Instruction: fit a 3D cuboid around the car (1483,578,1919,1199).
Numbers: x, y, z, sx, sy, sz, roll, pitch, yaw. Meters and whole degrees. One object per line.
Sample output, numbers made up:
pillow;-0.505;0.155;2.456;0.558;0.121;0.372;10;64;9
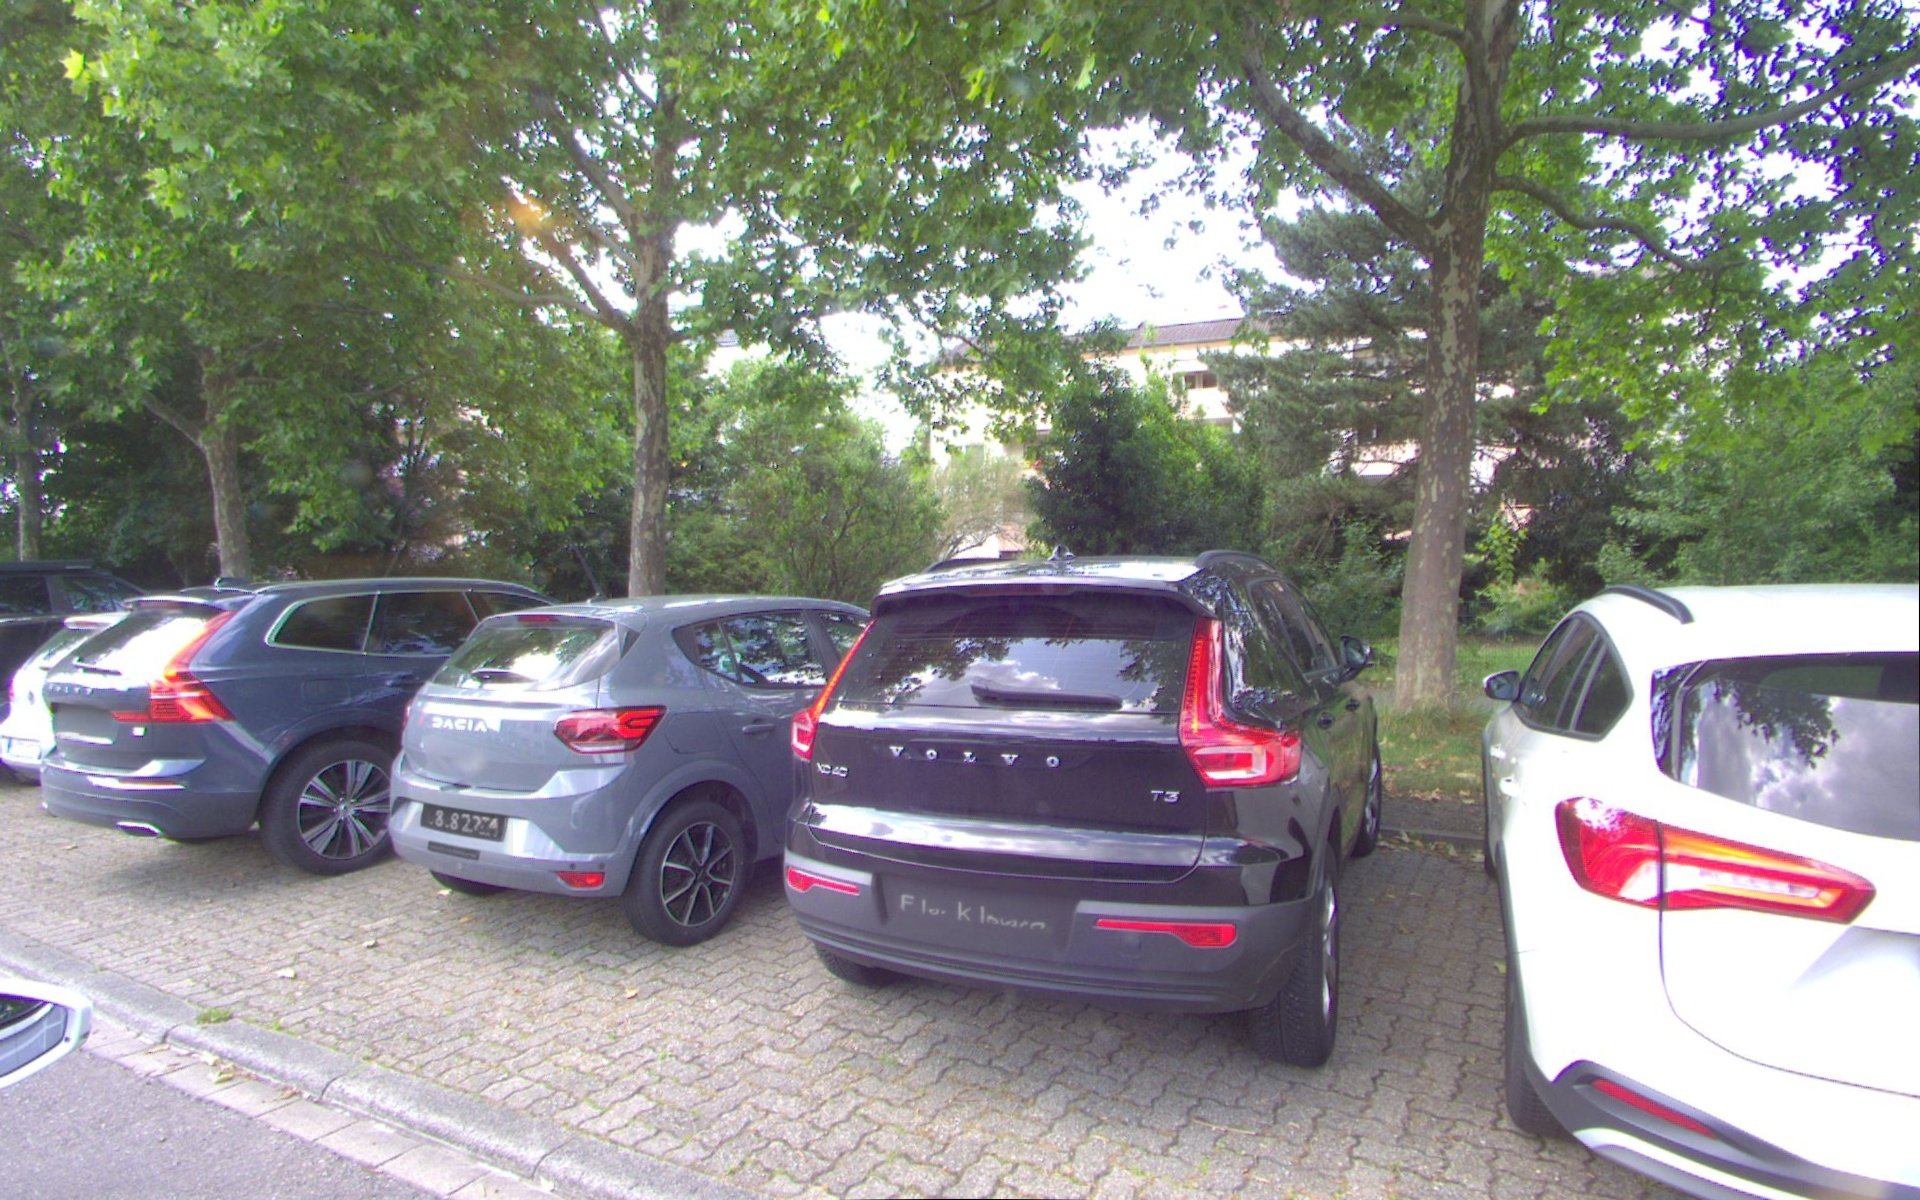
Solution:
car;2.919;0.673;3.536;1.818;1.493;4.654;0;1;27

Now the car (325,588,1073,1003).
car;-1.053;0.707;6.045;1.731;1.521;4.370;0;1;32

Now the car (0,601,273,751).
car;-10.476;0.819;11.432;1.730;1.514;3.959;-1;1;30

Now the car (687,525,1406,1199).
car;1.013;0.615;4.779;1.818;1.648;4.654;0;1;27

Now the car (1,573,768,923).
car;-3.516;0.670;7.053;1.731;1.662;4.370;0;1;32

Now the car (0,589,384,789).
car;-8.151;0.721;9.989;1.725;1.627;3.969;0;1;20

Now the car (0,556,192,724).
car;-13.147;0.523;13.092;1.828;2.152;4.538;0;1;30

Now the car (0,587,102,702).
car;-16.332;0.727;15.286;1.828;1.790;4.538;0;1;30

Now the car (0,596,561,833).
car;-5.752;0.761;8.771;1.730;1.514;3.959;0;1;30

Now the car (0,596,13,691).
car;-18.697;0.816;16.188;1.826;1.683;4.543;0;1;26
